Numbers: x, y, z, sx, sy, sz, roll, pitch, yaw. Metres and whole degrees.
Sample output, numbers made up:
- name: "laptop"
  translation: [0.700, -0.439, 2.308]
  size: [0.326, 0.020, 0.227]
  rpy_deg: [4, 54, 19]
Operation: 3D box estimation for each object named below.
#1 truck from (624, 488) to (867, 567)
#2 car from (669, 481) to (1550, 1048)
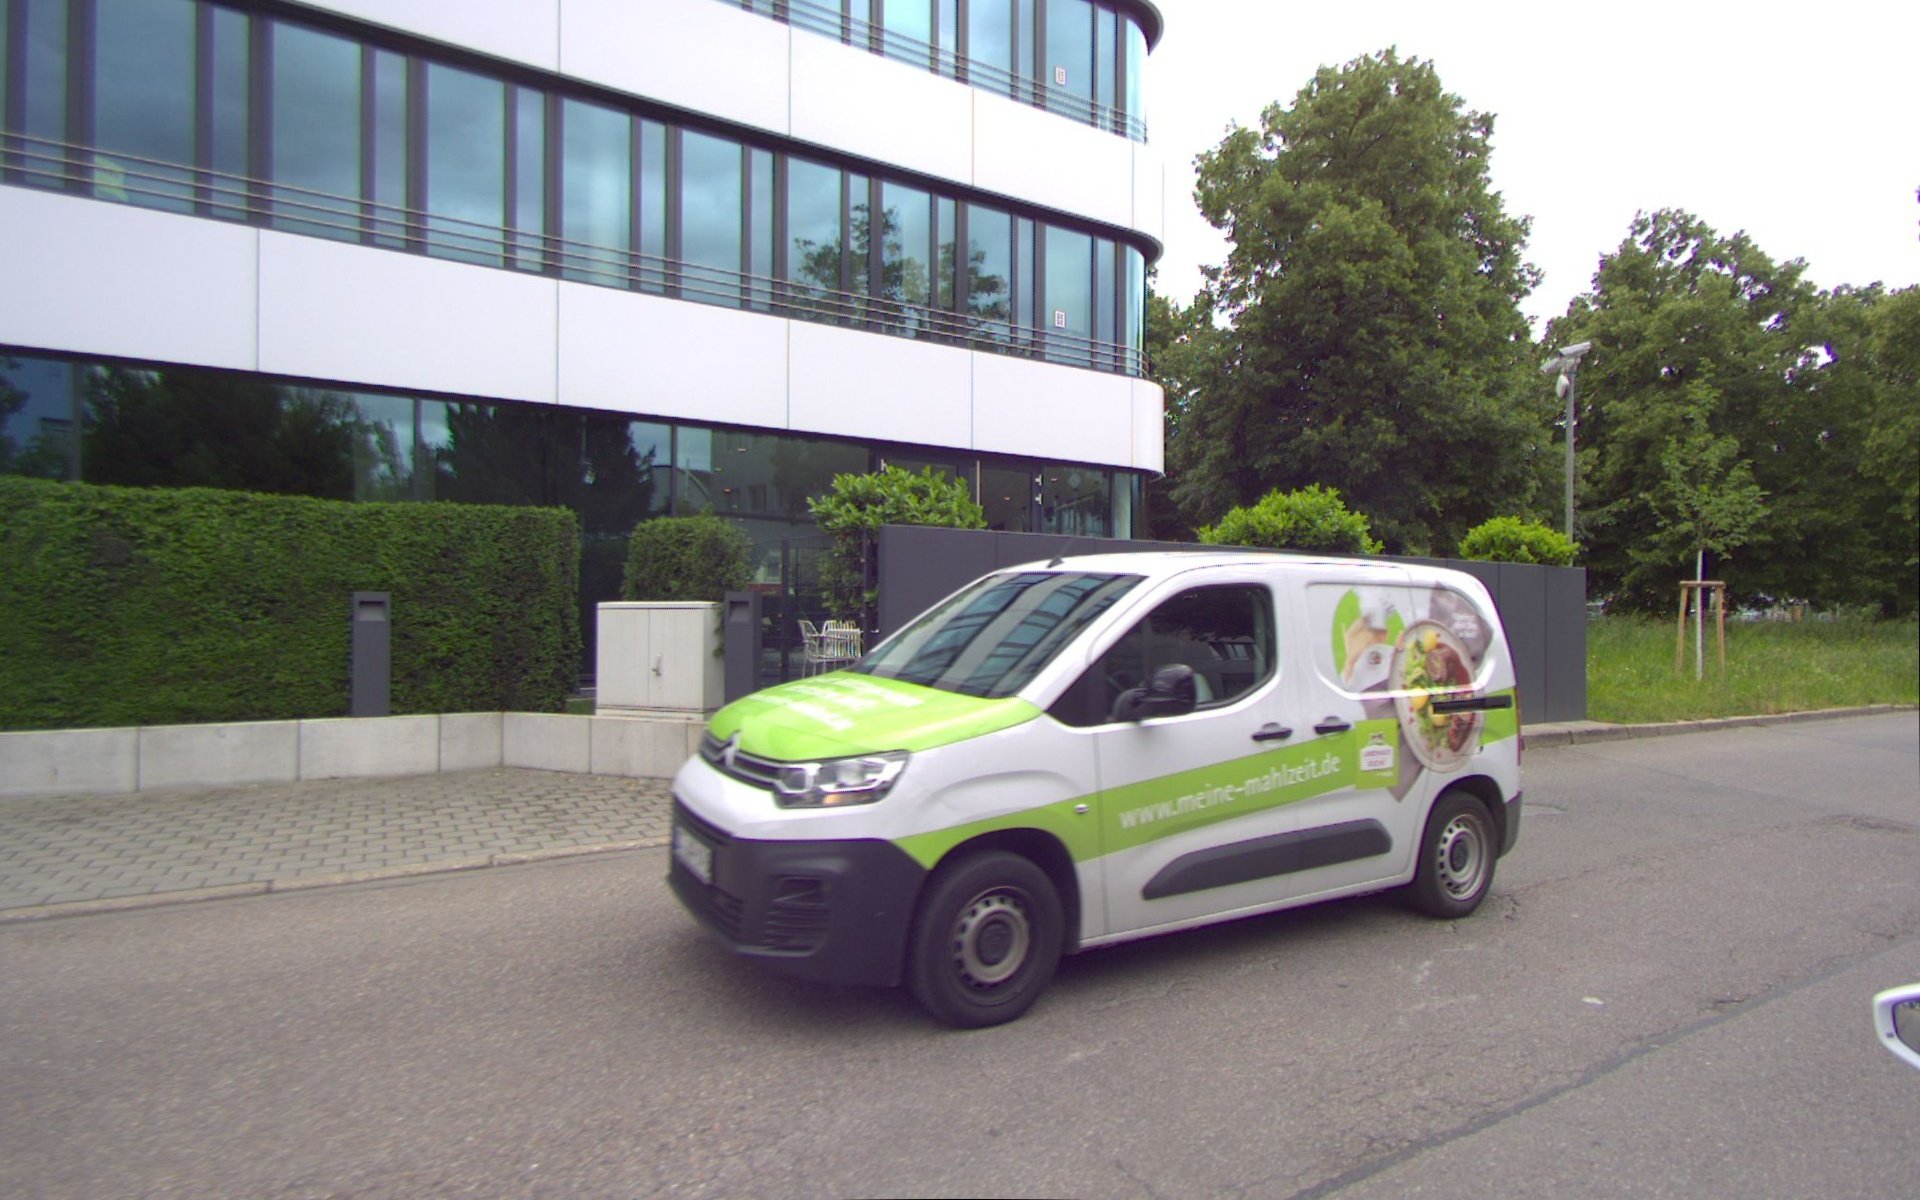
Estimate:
- name: "truck"
  translation: [-8.948, -2.941, 43.200]
  size: [10.173, 2.555, 2.946]
  rpy_deg: [1, -1, -43]
- name: "car"
  translation: [0.870, 0.544, 5.013]
  size: [4.157, 1.788, 1.799]
  rpy_deg: [1, 0, -31]
